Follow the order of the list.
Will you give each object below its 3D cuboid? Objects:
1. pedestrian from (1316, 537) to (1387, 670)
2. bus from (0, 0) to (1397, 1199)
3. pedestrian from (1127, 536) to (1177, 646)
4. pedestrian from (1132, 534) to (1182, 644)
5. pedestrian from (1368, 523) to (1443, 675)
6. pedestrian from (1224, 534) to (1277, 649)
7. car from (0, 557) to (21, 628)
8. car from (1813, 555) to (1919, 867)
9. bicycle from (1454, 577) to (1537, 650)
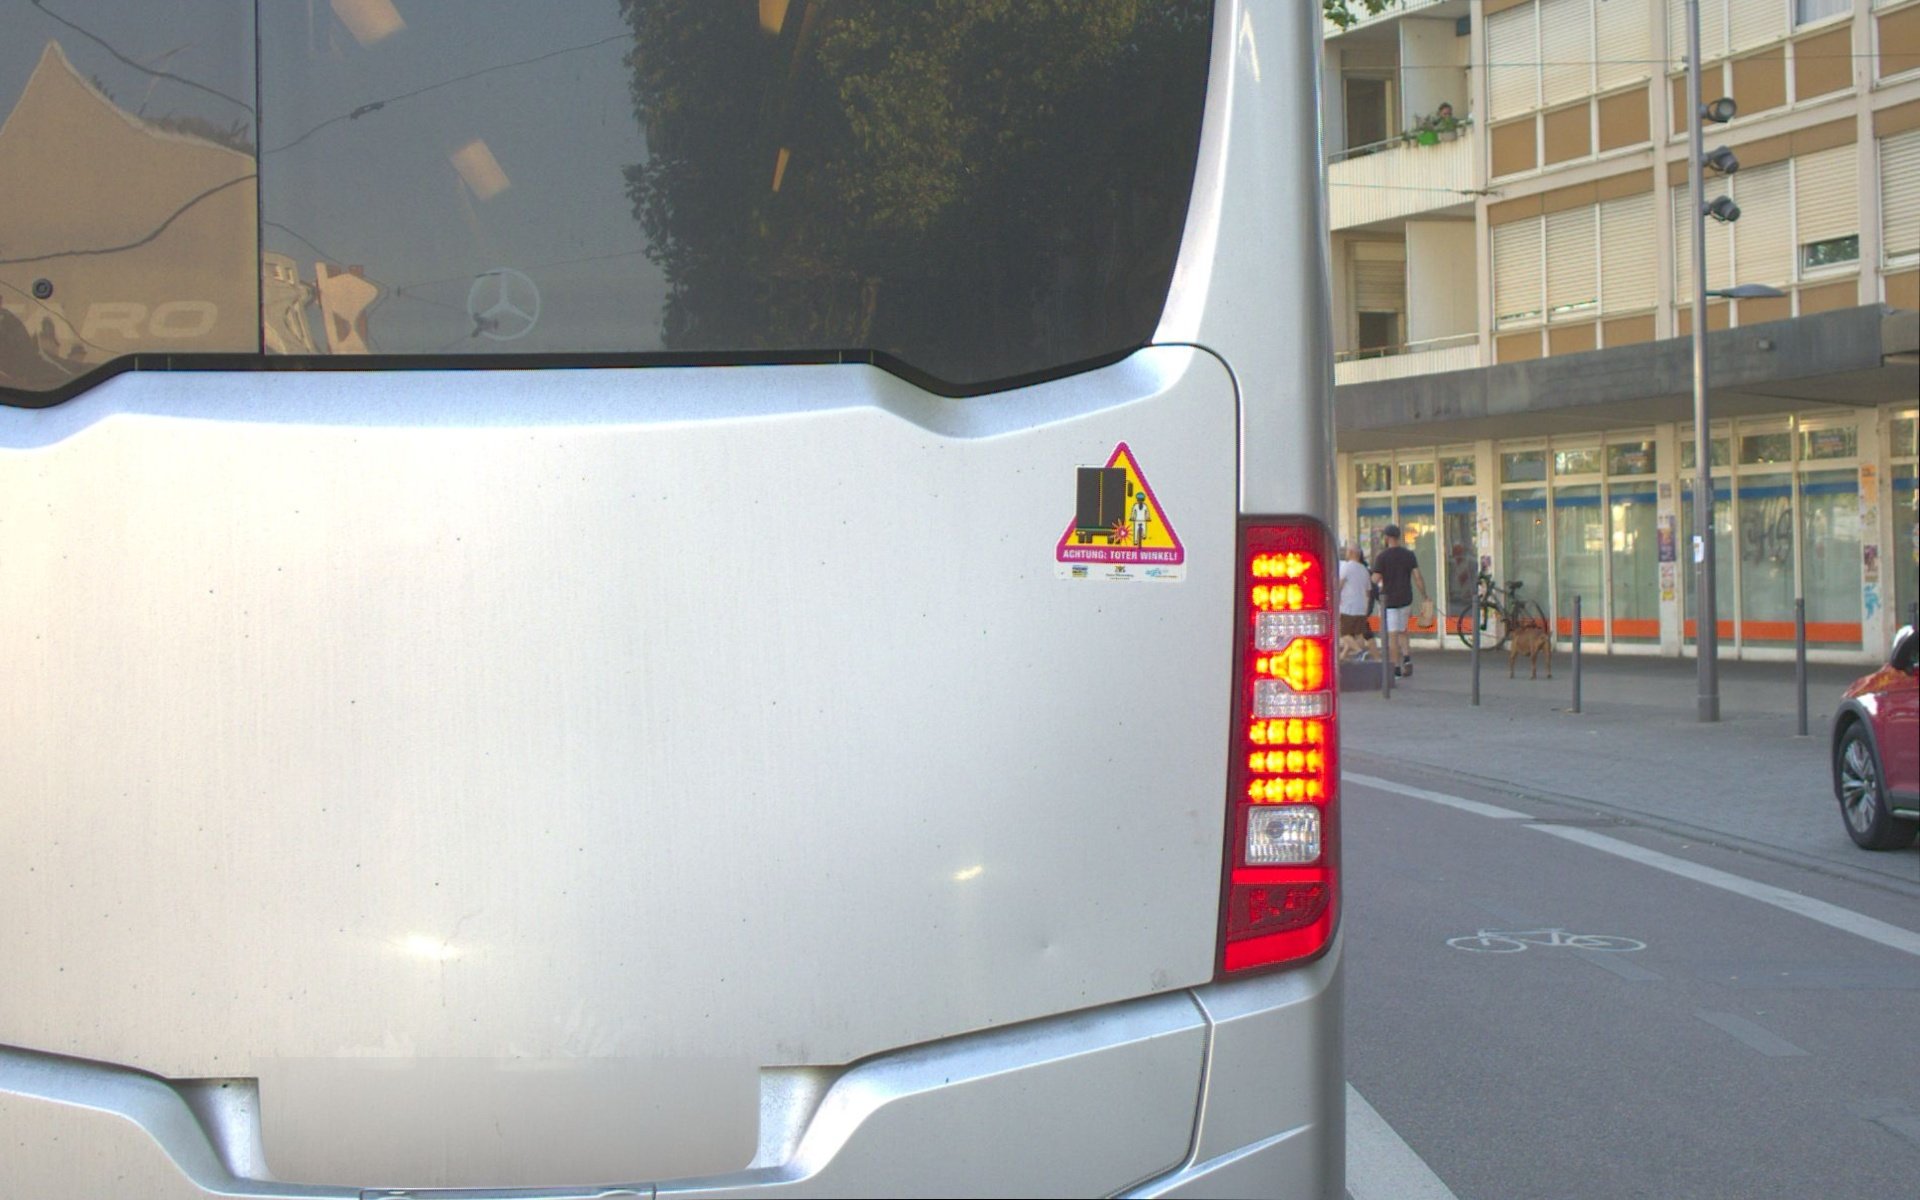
[{"bbox_3d":[4.697,0.036,41.263,0.645,1.576,0.560,-1,0,-16],"label":"pedestrian"},{"bbox_3d":[-0.771,-0.111,9.814,2.630,3.017,9.998,0,1,-1],"label":"bus"},{"bbox_3d":[2.903,-0.139,51.987,0.535,1.643,0.616,-1,1,-17],"label":"pedestrian"},{"bbox_3d":[2.978,-0.164,52.002,0.535,1.643,0.616,-1,1,-17],"label":"pedestrian"},{"bbox_3d":[5.086,-0.016,39.264,0.645,1.711,0.560,-1,0,-16],"label":"pedestrian"},{"bbox_3d":[4.205,-0.127,49.723,0.535,1.643,0.616,-1,1,-17],"label":"pedestrian"},{"bbox_3d":[-25.943,-0.206,88.287,1.994,1.785,3.998,1,0,-41],"label":"car"},{"bbox_3d":[5.517,0.517,15.852,1.769,1.477,4.304,-2,1,-4],"label":"car"},{"bbox_3d":[7.118,0.170,45.739,0.412,0.941,1.441,-1,1,-20],"label":"bicycle"}]
